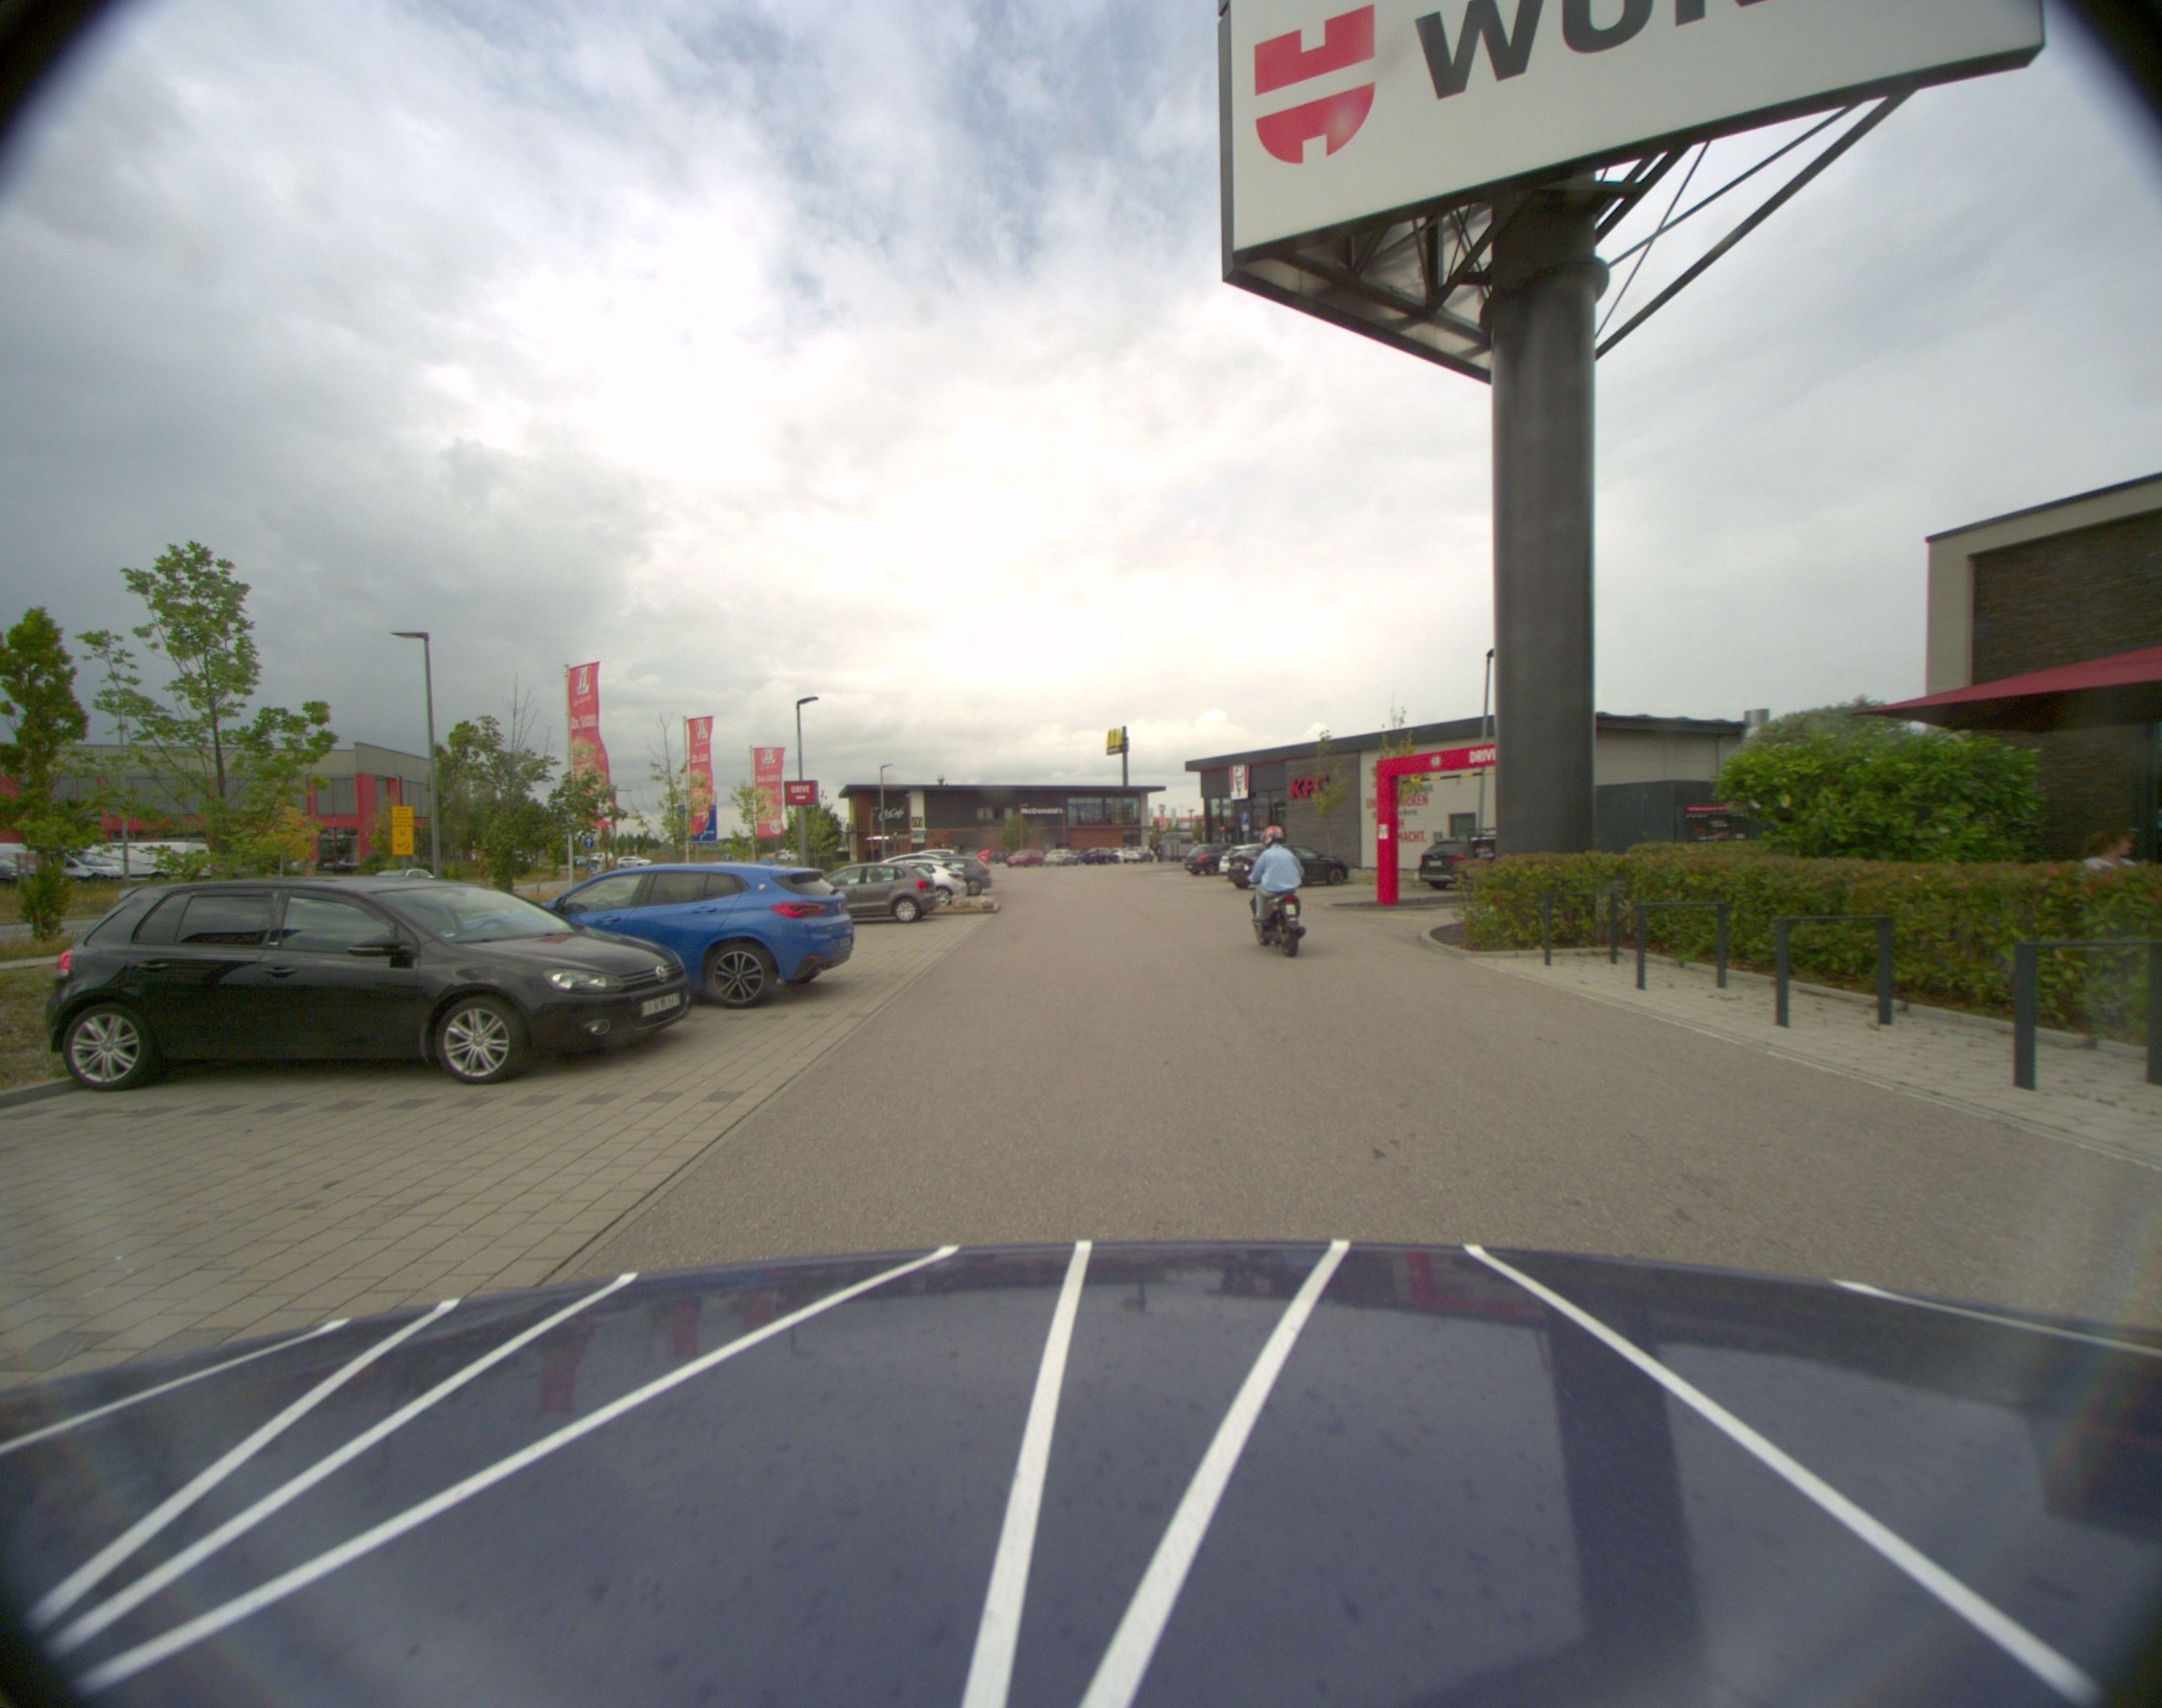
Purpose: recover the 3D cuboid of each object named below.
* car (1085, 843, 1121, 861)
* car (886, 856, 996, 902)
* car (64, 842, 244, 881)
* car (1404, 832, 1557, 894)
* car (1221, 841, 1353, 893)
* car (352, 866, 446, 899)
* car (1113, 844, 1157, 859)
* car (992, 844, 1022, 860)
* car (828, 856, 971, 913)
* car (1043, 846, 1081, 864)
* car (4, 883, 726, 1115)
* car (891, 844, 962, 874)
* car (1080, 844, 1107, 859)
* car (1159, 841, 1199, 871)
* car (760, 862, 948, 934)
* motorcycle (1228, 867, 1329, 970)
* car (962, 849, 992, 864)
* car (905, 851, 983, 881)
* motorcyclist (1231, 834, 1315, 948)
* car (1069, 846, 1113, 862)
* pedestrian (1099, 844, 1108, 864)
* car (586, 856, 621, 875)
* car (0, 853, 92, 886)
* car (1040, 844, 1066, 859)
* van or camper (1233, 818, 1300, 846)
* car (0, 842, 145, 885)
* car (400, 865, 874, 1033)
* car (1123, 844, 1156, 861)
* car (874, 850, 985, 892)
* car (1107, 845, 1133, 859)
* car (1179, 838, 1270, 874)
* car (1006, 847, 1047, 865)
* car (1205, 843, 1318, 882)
[{"bbox_3d":[1.943,-0.159,66.097,1.683,1.454,4.414,-1,0,22],"label":"car"},{"bbox_3d":[-5.122,0.880,28.113,3.808,1.404,1.737,-3,1,-8],"label":"car"},{"bbox_3d":[-55.489,0.401,45.694,6.513,2.255,2.341,0,1,-21],"label":"car"},{"bbox_3d":[11.733,0.222,22.341,4.003,1.587,1.733,-2,2,-20],"label":"car"},{"bbox_3d":[7.064,0.390,26.091,4.127,1.520,1.738,-3,2,-20],"label":"car"},{"bbox_3d":[-33.542,1.361,37.497,1.756,1.482,4.125,-1,0,-15],"label":"car"},{"bbox_3d":[5.444,-0.242,76.789,4.102,1.458,1.783,-1,-1,19],"label":"car"},{"bbox_3d":[-8.332,-0.184,85.892,1.996,1.739,4.005,0,0,15],"label":"car"},{"bbox_3d":[-5.429,0.891,23.146,3.938,1.404,1.838,-3,1,-5],"label":"car"},{"bbox_3d":[-1.563,0.070,64.634,1.750,1.404,4.466,-2,0,19],"label":"car"},{"bbox_3d":[-5.284,1.024,6.020,4.071,1.451,1.776,-1,0,2],"label":"car"},{"bbox_3d":[-10.275,0.304,50.343,4.375,1.703,1.989,-3,1,-17],"label":"car"},{"bbox_3d":[1.507,-0.322,89.185,1.894,1.653,4.263,1,3,20],"label":"car"},{"bbox_3d":[8.844,0.166,68.026,2.069,2.538,7.022,-1,0,19],"label":"car"},{"bbox_3d":[-5.367,1.016,18.374,3.998,1.420,1.727,-3,1,-3],"label":"car"},{"bbox_3d":[2.658,0.825,10.458,0.794,1.201,1.920,-2,1,-3],"label":"motorcycle"},{"bbox_3d":[-11.547,0.253,84.448,1.746,1.575,3.910,1,1,19],"label":"car"},{"bbox_3d":[-7.790,0.641,43.094,4.073,1.404,1.885,-3,1,-17],"label":"car"},{"bbox_3d":[2.625,0.476,10.459,0.830,1.480,0.940,-2,2,-5],"label":"motorcyclist"},{"bbox_3d":[1.013,0.004,75.249,3.990,1.501,1.772,1,1,24],"label":"car"},{"bbox_3d":[1.877,-0.042,63.897,0.749,1.668,0.842,0,1,0],"label":"pedestrian"},{"bbox_3d":[-45.133,1.065,71.907,2.002,1.696,3.992,0,2,-20],"label":"car"},{"bbox_3d":[-53.799,0.742,37.911,5.074,1.629,2.074,0,0,-19],"label":"car"},{"bbox_3d":[-3.415,-0.296,91.857,1.755,1.743,3.992,0,1,-23],"label":"car"},{"bbox_3d":[19.892,-2.312,81.590,6.557,2.685,2.176,-2,0,27],"label":"van or camper"},{"bbox_3d":[-55.201,0.502,40.641,6.064,2.201,2.412,0,0,-19],"label":"car"},{"bbox_3d":[-4.732,0.976,8.600,4.212,1.535,1.864,-2,1,0],"label":"car"},{"bbox_3d":[5.262,-0.138,67.833,1.683,1.443,4.006,-1,0,23],"label":"car"},{"bbox_3d":[-6.575,0.708,33.200,4.546,1.532,1.924,-3,1,-10],"label":"car"},{"bbox_3d":[4.659,-0.219,90.828,1.786,1.478,4.005,1,3,23],"label":"car"},{"bbox_3d":[6.944,0.096,36.852,3.943,1.478,1.755,-3,1,-20],"label":"car"},{"bbox_3d":[-4.538,0.167,63.781,1.683,1.455,4.006,-1,0,23],"label":"car"},{"bbox_3d":[7.560,0.339,31.865,4.183,1.477,1.997,-2,1,-20],"label":"car"}]
